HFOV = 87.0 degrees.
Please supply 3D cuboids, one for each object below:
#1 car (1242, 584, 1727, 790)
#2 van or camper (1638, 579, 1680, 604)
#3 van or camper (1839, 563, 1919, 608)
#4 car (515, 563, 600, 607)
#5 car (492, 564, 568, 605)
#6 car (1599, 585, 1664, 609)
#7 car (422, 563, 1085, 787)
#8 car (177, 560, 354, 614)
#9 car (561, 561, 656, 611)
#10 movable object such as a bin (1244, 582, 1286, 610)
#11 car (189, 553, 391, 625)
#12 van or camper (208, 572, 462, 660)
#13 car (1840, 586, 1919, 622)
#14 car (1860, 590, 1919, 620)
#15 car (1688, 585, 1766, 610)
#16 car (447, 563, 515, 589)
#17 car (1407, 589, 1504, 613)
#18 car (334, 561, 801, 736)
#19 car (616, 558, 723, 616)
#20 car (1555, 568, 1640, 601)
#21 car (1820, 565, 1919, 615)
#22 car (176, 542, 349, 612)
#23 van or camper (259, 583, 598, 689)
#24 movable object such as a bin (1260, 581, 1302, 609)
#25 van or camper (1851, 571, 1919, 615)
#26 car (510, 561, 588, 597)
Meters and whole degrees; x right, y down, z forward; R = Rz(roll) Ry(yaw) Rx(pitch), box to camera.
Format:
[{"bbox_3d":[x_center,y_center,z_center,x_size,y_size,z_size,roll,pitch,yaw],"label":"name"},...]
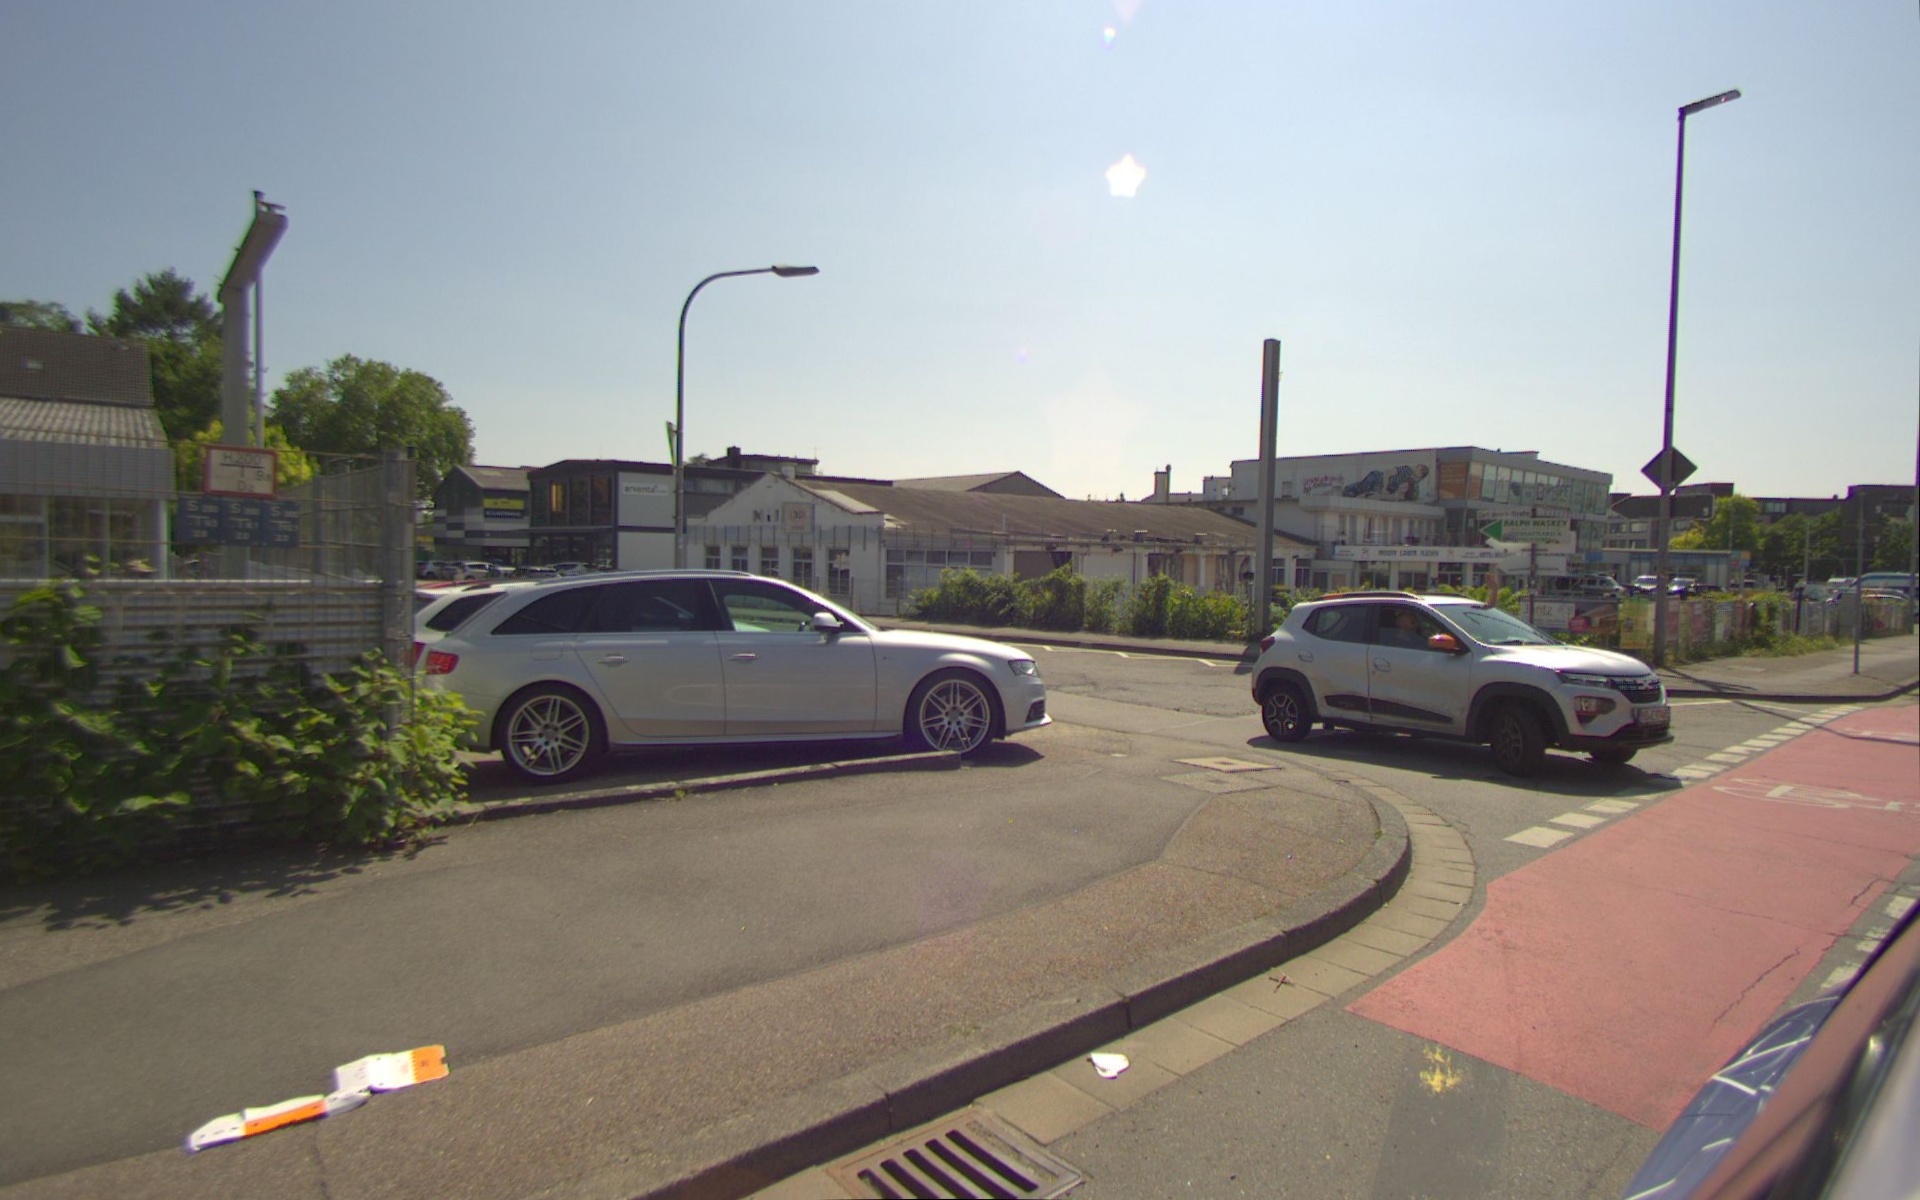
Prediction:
[{"bbox_3d":[4.601,0.627,9.410,1.693,1.503,3.680,1,0,-30],"label":"car"},{"bbox_3d":[60.136,-0.754,87.034,2.118,2.038,5.034,4,3,44],"label":"van or camper"},{"bbox_3d":[61.275,-0.890,65.402,2.664,2.733,6.364,1,2,-40],"label":"van or camper"},{"bbox_3d":[-17.131,-0.639,42.998,1.967,1.682,3.992,1,2,-44],"label":"car"},{"bbox_3d":[-20.065,-0.732,47.138,1.967,1.794,3.991,1,1,-44],"label":"car"},{"bbox_3d":[55.591,-0.295,83.848,1.967,1.754,4.110,0,3,-44],"label":"car"},{"bbox_3d":[-1.468,0.485,7.855,4.404,1.376,1.961,-1,-1,-11],"label":"car"},{"bbox_3d":[-19.681,-0.365,28.841,3.745,1.482,1.798,0,0,-11],"label":"car"},{"bbox_3d":[-13.624,-0.543,39.113,1.967,1.816,3.991,1,1,-44],"label":"car"},{"bbox_3d":[16.691,-0.226,55.355,1.727,1.474,1.571,0,2,-45],"label":"movable object such as a bin"},{"bbox_3d":[-17.452,-0.265,26.568,3.917,1.668,2.004,2,0,-11],"label":"car"},{"bbox_3d":[-13.115,0.294,21.551,4.140,1.560,2.007,0,6,-14],"label":"van or camper"},{"bbox_3d":[57.301,0.277,61.681,1.965,1.975,5.246,1,3,-40],"label":"car"},{"bbox_3d":[55.578,0.322,59.366,1.766,1.613,3.930,1,2,-40],"label":"car"},{"bbox_3d":[59.959,-0.213,79.176,1.967,1.698,4.543,0,3,-44],"label":"car"},{"bbox_3d":[-33.249,-1.647,70.319,3.928,1.670,1.762,1,2,-39],"label":"car"},{"bbox_3d":[27.735,0.065,56.743,4.469,1.306,1.895,0,0,1],"label":"car"},{"bbox_3d":[-4.146,0.412,11.140,4.428,1.523,1.851,0,2,-42],"label":"car"},{"bbox_3d":[-10.203,-0.468,35.384,1.967,1.816,3.992,1,2,-44],"label":"car"},{"bbox_3d":[50.799,-1.261,80.698,2.288,2.448,5.302,0,3,-45],"label":"car"},{"bbox_3d":[58.771,-0.629,64.018,2.279,2.904,6.243,1,2,-39],"label":"car"},{"bbox_3d":[-21.230,-0.703,30.994,3.916,2.039,2.004,0,0,-17],"label":"car"},{"bbox_3d":[-7.853,0.522,15.156,4.156,1.369,1.995,0,-3,-42],"label":"van or camper"},{"bbox_3d":[17.973,-0.286,56.624,1.796,1.474,1.571,0,2,-45],"label":"movable object such as a bin"},{"bbox_3d":[63.473,-0.431,67.020,2.664,2.749,6.364,1,2,-40],"label":"van or camper"},{"bbox_3d":[-24.291,-1.240,59.820,3.925,1.927,1.763,1,2,-37],"label":"car"}]
